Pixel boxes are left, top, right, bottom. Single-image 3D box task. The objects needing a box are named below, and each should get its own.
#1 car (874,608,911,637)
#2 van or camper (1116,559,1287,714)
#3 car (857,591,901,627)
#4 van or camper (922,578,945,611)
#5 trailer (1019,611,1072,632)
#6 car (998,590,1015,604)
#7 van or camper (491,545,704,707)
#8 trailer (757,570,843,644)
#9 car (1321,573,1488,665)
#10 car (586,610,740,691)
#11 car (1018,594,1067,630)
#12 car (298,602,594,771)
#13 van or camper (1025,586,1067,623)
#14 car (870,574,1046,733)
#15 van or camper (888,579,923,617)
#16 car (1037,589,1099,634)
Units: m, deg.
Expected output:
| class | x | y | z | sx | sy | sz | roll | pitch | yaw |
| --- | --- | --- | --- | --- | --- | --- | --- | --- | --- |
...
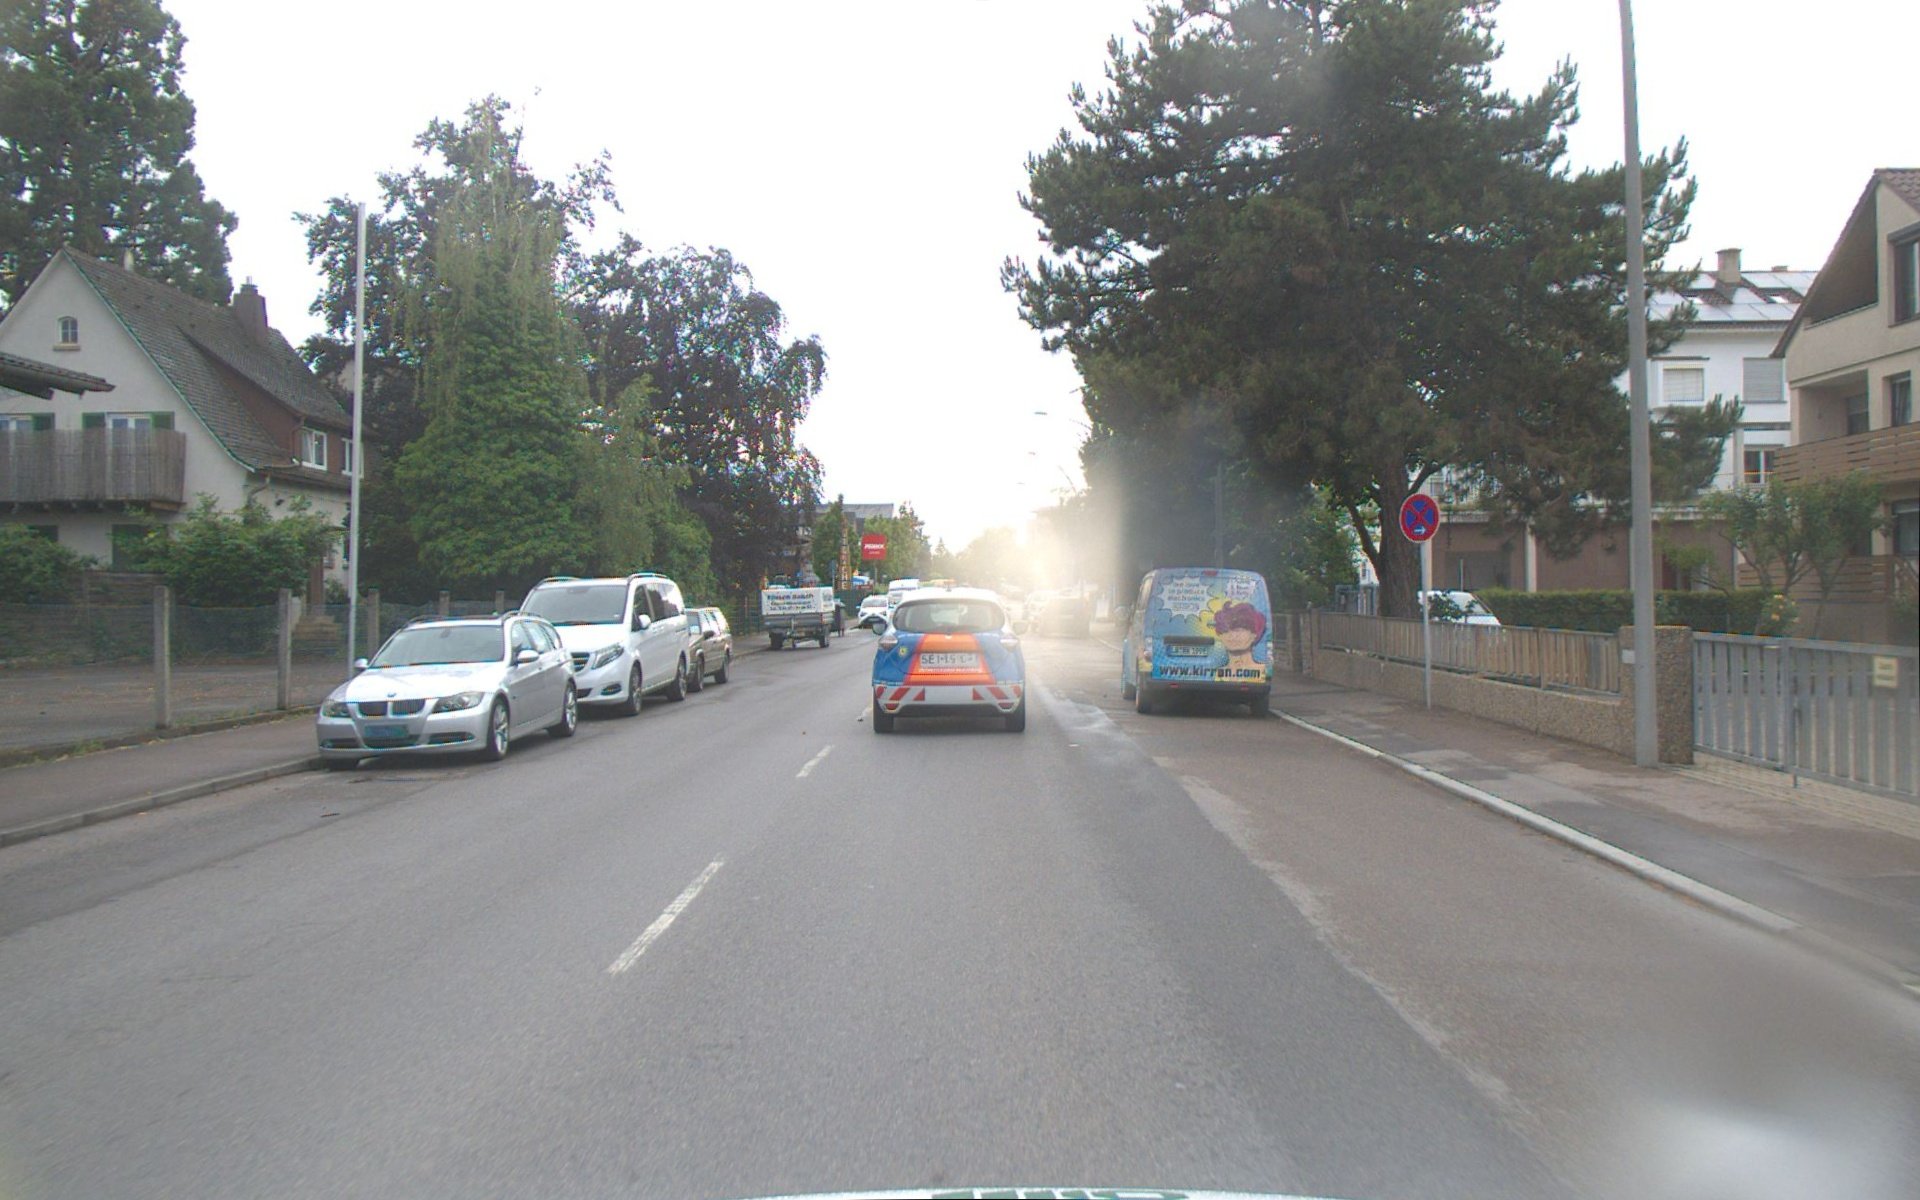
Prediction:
| class | x | y | z | sx | sy | sz | roll | pitch | yaw |
| --- | --- | --- | --- | --- | --- | --- | --- | --- | --- |
| car | -3.796 | 1.256 | 94.193 | 1.953 | 1.557 | 4.000 | 0 | 0 | 0 |
| van or camper | 3.199 | 0.443 | 22.621 | 1.718 | 1.916 | 4.000 | -1 | 0 | 0 |
| car | -4.004 | 0.461 | 82.129 | 1.953 | 1.624 | 3.999 | 2 | -2 | -1 |
| van or camper | -2.320 | -0.465 | 146.199 | 1.953 | 2.823 | 5.440 | 0 | 0 | 0 |
| trailer | 3.314 | 0.824 | 64.646 | 1.899 | 0.767 | 2.859 | 0 | 0 | 0 |
| car | 5.531 | -0.317 | 197.559 | 1.953 | 1.613 | 4.000 | 0 | 0 | 0 |
| van or camper | -5.088 | 0.423 | 23.986 | 1.851 | 2.049 | 5.096 | 2 | -2 | 0 |
| trailer | -4.798 | 0.258 | 50.237 | 2.175 | 2.049 | 4.435 | 2 | -2 | -1 |
| car | 8.008 | 0.389 | 30.157 | 1.953 | 1.512 | 3.999 | 2 | -2 | 0 |
| car | -5.226 | 0.857 | 29.621 | 1.952 | 1.310 | 4.001 | 0 | 0 | 1 |
| car | 3.461 | 0.473 | 69.983 | 1.820 | 1.480 | 3.522 | 0 | 0 | -2 |
| car | -5.258 | 0.878 | 17.507 | 1.706 | 1.506 | 4.184 | -2 | -2 | 1 |
| van or camper | 4.375 | 0.218 | 84.615 | 1.953 | 1.816 | 4.000 | 0 | 0 | 0 |
| car | -0.031 | 0.555 | 19.506 | 1.850 | 1.660 | 4.000 | -1 | 0 | 0 |
| van or camper | -3.523 | -0.138 | 107.861 | 2.117 | 2.394 | 4.333 | 0 | 0 | 0 |
| car | 3.890 | 0.381 | 59.914 | 1.953 | 1.563 | 4.000 | 0 | 0 | 0 |
